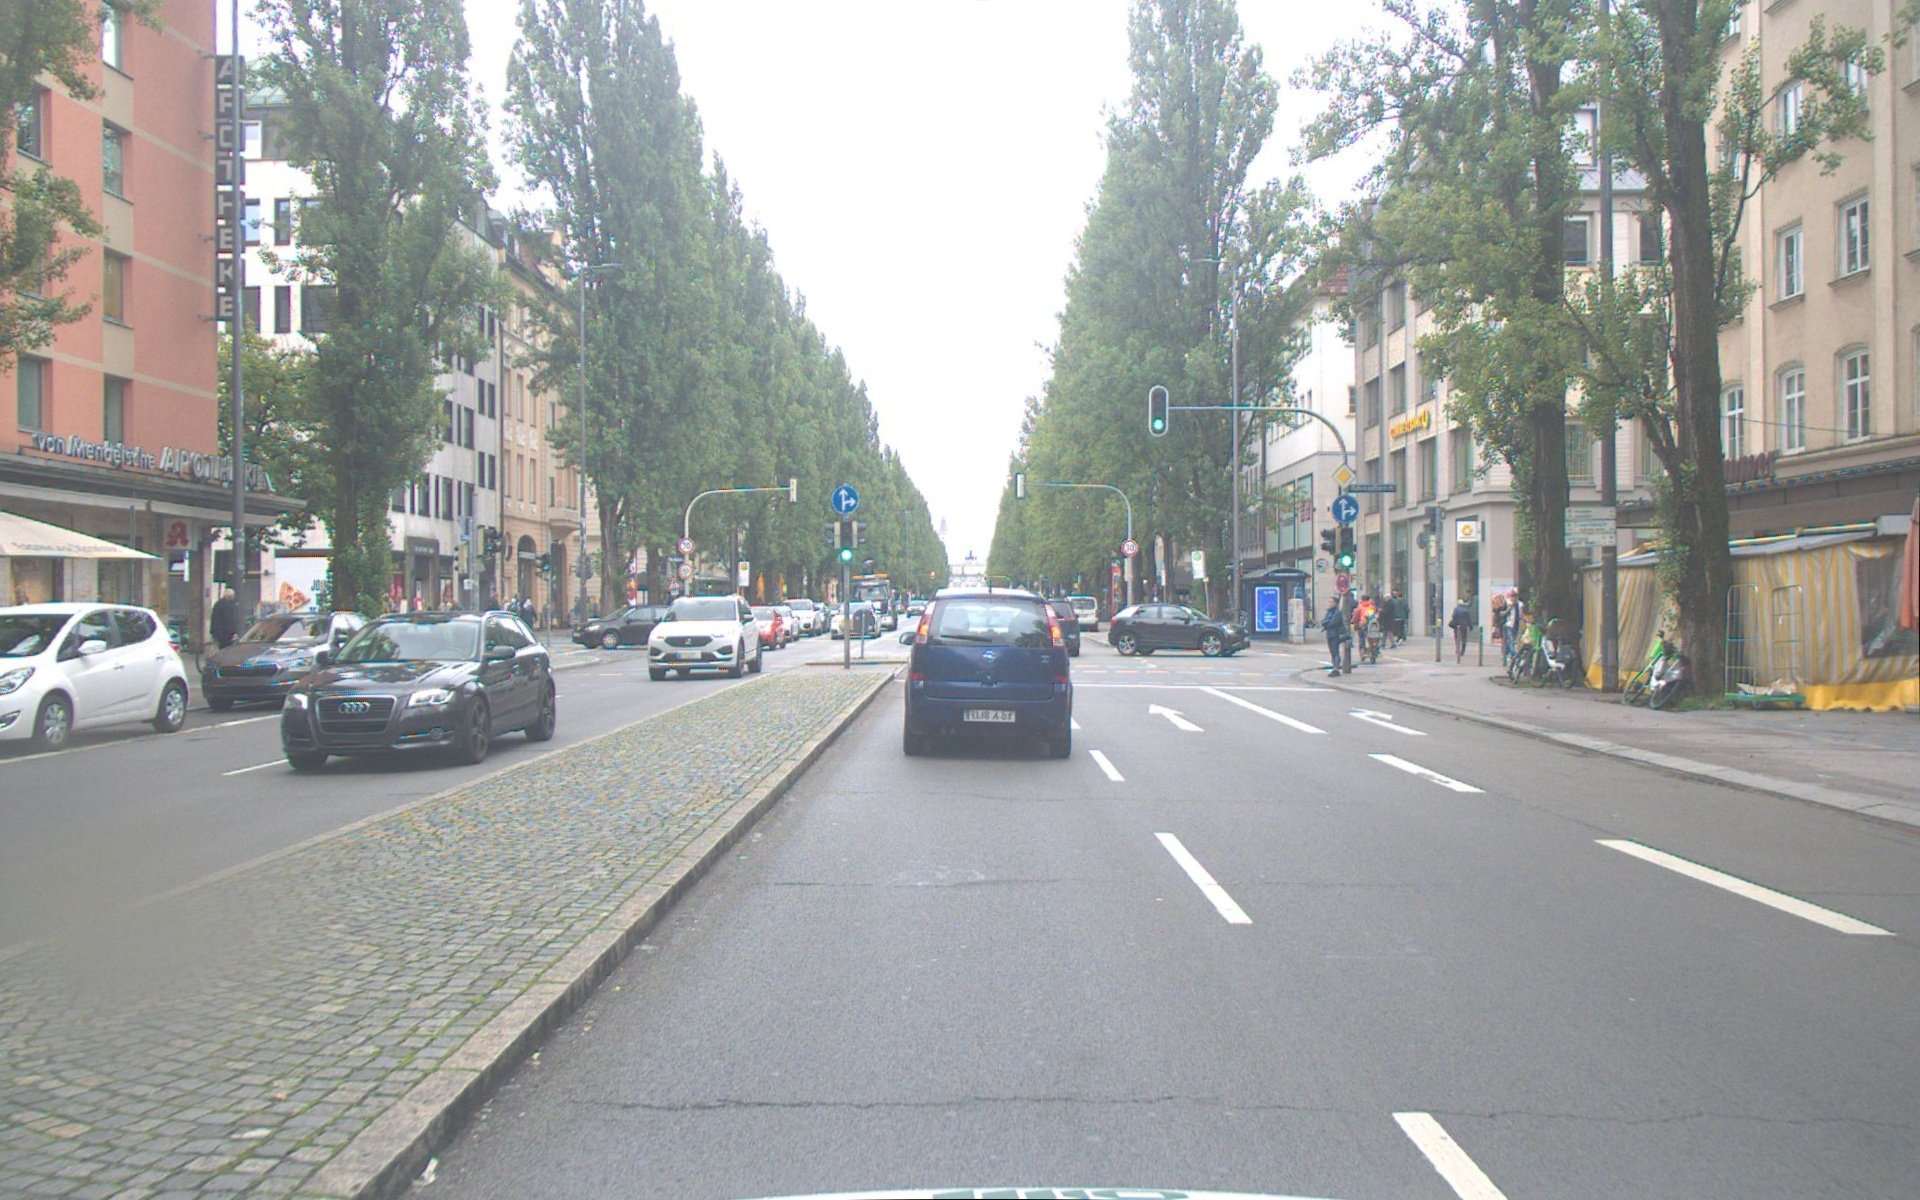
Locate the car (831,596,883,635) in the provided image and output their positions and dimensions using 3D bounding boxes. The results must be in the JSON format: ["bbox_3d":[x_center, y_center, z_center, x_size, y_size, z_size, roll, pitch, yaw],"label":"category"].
[{"bbox_3d":[-4.268,0.612,69.077,1.806,1.528,4.986,-1,0,0],"label":"car"}]

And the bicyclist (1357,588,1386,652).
[{"bbox_3d":[10.461,0.516,42.090,0.608,1.616,0.481,-1,0,0],"label":"bicyclist"}]

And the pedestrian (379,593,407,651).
[{"bbox_3d":[-16.920,0.664,49.392,0.616,1.718,0.519,1,-1,1],"label":"pedestrian"}]

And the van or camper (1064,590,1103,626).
[{"bbox_3d":[6.879,0.440,92.459,1.830,1.916,4.903,0,0,0],"label":"van or camper"}]

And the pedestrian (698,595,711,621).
[{"bbox_3d":[-16.986,0.553,109.886,0.719,1.702,0.952,0,0,0],"label":"pedestrian"}]

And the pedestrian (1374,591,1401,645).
[{"bbox_3d":[14.234,0.597,55.057,0.694,1.788,0.752,0,0,2],"label":"pedestrian"}]

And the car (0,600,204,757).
[{"bbox_3d":[-10.530,0.845,19.104,1.668,1.611,4.096,-2,0,0],"label":"car"}]

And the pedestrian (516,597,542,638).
[{"bbox_3d":[-16.776,0.664,64.350,0.735,1.594,0.989,0,0,0],"label":"pedestrian"}]

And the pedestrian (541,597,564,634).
[{"bbox_3d":[-18.065,0.672,73.366,0.762,1.647,0.934,0,0,0],"label":"pedestrian"}]

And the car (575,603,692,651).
[{"bbox_3d":[-10.819,0.867,54.775,3.635,1.501,1.763,0,0,-19],"label":"car"}]

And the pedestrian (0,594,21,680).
[{"bbox_3d":[-18.882,0.719,32.416,0.543,1.667,0.692,0,0,0],"label":"pedestrian"}]

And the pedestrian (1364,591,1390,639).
[{"bbox_3d":[15.127,0.549,60.004,0.734,1.706,0.963,-1,0,2],"label":"pedestrian"}]

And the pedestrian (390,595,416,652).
[{"bbox_3d":[-16.831,0.702,49.982,0.574,1.720,0.514,0,0,0],"label":"pedestrian"}]

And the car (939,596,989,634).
[{"bbox_3d":[0.144,0.606,68.179,1.953,1.524,3.999,0,0,-1],"label":"car"}]

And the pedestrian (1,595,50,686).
[{"bbox_3d":[-18.178,0.778,32.189,0.543,1.748,0.692,0,0,0],"label":"pedestrian"}]

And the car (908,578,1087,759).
[{"bbox_3d":[0.327,0.633,17.367,1.647,1.670,3.999,1,0,-1],"label":"car"}]

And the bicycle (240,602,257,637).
[{"bbox_3d":[-25.306,0.686,58.846,0.409,1.205,1.998,0,0,-19],"label":"bicycle"}]

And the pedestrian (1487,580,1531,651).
[{"bbox_3d":[13.779,0.399,41.516,0.846,1.732,0.662,-2,-3,44],"label":"pedestrian"}]

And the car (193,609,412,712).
[{"bbox_3d":[-10.474,0.908,26.734,1.668,1.463,4.590,-2,0,0],"label":"car"}]

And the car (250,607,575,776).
[{"bbox_3d":[-5.301,0.814,16.641,1.798,1.385,4.176,-2,0,0],"label":"car"}]

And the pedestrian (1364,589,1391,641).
[{"bbox_3d":[14.486,0.525,57.383,0.734,1.789,0.859,0,-2,2],"label":"pedestrian"}]

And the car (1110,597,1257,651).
[{"bbox_3d":[6.518,0.673,48.228,3.910,1.487,1.757,0,0,28],"label":"car"}]

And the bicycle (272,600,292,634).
[{"bbox_3d":[-25.050,0.619,61.144,0.442,1.205,2.055,0,0,-15],"label":"bicycle"}]

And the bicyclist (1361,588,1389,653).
[{"bbox_3d":[10.466,0.514,41.718,0.608,1.616,0.391,-1,0,-1],"label":"bicyclist"}]

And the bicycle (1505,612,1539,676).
[{"bbox_3d":[10.283,0.793,30.292,0.396,1.088,1.812,5,1,16],"label":"bicycle"}]

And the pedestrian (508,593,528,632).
[{"bbox_3d":[-20.991,0.595,78.510,0.684,1.819,0.820,0,0,1],"label":"pedestrian"}]

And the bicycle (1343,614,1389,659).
[{"bbox_3d":[10.462,0.914,42.653,0.614,1.106,2.263,-1,0,0],"label":"bicycle"}]

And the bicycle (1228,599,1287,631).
[{"bbox_3d":[12.076,0.606,67.218,2.295,1.274,0.633,0,0,0],"label":"bicycle"}]

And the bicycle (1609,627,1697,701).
[{"bbox_3d":[10.017,0.903,23.967,0.498,0.992,1.770,0,0,-1],"label":"bicycle"}]

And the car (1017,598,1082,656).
[{"bbox_3d":[2.565,0.750,48.095,1.671,1.601,4.000,0,0,0],"label":"car"}]

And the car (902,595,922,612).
[{"bbox_3d":[-4.749,0.335,164.766,1.874,1.710,4.586,0,0,0],"label":"car"}]

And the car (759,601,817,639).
[{"bbox_3d":[-6.862,0.791,66.294,1.785,1.432,4.632,-1,0,0],"label":"car"}]

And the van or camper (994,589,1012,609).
[{"bbox_3d":[5.915,-0.115,228.944,2.426,2.626,5.844,-1,0,1],"label":"van or camper"}]

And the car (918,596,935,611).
[{"bbox_3d":[-4.063,0.415,200.489,1.895,1.651,4.336,-2,0,0],"label":"car"}]

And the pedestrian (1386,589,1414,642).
[{"bbox_3d":[15.266,0.540,57.386,0.734,1.789,0.859,0,-2,2],"label":"pedestrian"}]

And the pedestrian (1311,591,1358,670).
[{"bbox_3d":[7.887,0.626,34.825,0.750,1.638,0.864,0,0,-4],"label":"pedestrian"}]

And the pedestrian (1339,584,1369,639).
[{"bbox_3d":[13.406,0.394,56.301,0.801,1.849,0.890,0,0,-1],"label":"pedestrian"}]

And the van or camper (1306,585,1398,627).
[{"bbox_3d":[18.852,0.288,79.636,4.018,1.899,1.899,1,-1,4],"label":"van or camper"}]

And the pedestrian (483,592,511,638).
[{"bbox_3d":[-18.542,0.608,66.258,0.783,1.818,0.912,1,0,0],"label":"pedestrian"}]

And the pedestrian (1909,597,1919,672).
[{"bbox_3d":[16.799,0.593,28.280,0.759,1.286,0.699,0,0,1],"label":"pedestrian"}]

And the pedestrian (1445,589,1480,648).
[{"bbox_3d":[14.625,0.541,48.147,0.734,1.665,0.734,-2,-2,3],"label":"pedestrian"}]

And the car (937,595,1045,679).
[{"bbox_3d":[0.551,0.664,32.114,1.953,1.524,3.999,0,0,-1],"label":"car"}]

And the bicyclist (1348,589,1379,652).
[{"bbox_3d":[10.456,0.521,42.872,0.608,1.616,0.753,-1,0,0],"label":"bicyclist"}]

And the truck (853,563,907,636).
[{"bbox_3d":[-4.247,-0.044,88.797,2.412,3.734,8.439,0,0,0],"label":"truck"}]

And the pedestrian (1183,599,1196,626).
[{"bbox_3d":[15.800,0.841,113.817,0.809,1.873,1.100,0,0,3],"label":"pedestrian"}]

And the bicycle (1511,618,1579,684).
[{"bbox_3d":[9.901,0.847,28.048,0.498,1.066,1.770,0,0,-1],"label":"bicycle"}]

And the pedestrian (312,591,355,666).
[{"bbox_3d":[-15.247,0.689,40.263,0.709,1.802,0.778,0,0,1],"label":"pedestrian"}]

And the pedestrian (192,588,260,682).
[{"bbox_3d":[-14.578,0.689,32.849,0.720,1.827,0.993,1,-1,18],"label":"pedestrian"}]

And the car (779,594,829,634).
[{"bbox_3d":[-7.207,0.633,76.673,1.799,1.746,4.636,-1,0,1],"label":"car"}]

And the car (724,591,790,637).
[{"bbox_3d":[-6.742,0.459,55.312,1.701,1.462,3.823,-1,0,0],"label":"car"}]

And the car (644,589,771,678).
[{"bbox_3d":[-5.124,0.640,34.145,1.806,1.664,4.576,-2,0,1],"label":"car"}]
